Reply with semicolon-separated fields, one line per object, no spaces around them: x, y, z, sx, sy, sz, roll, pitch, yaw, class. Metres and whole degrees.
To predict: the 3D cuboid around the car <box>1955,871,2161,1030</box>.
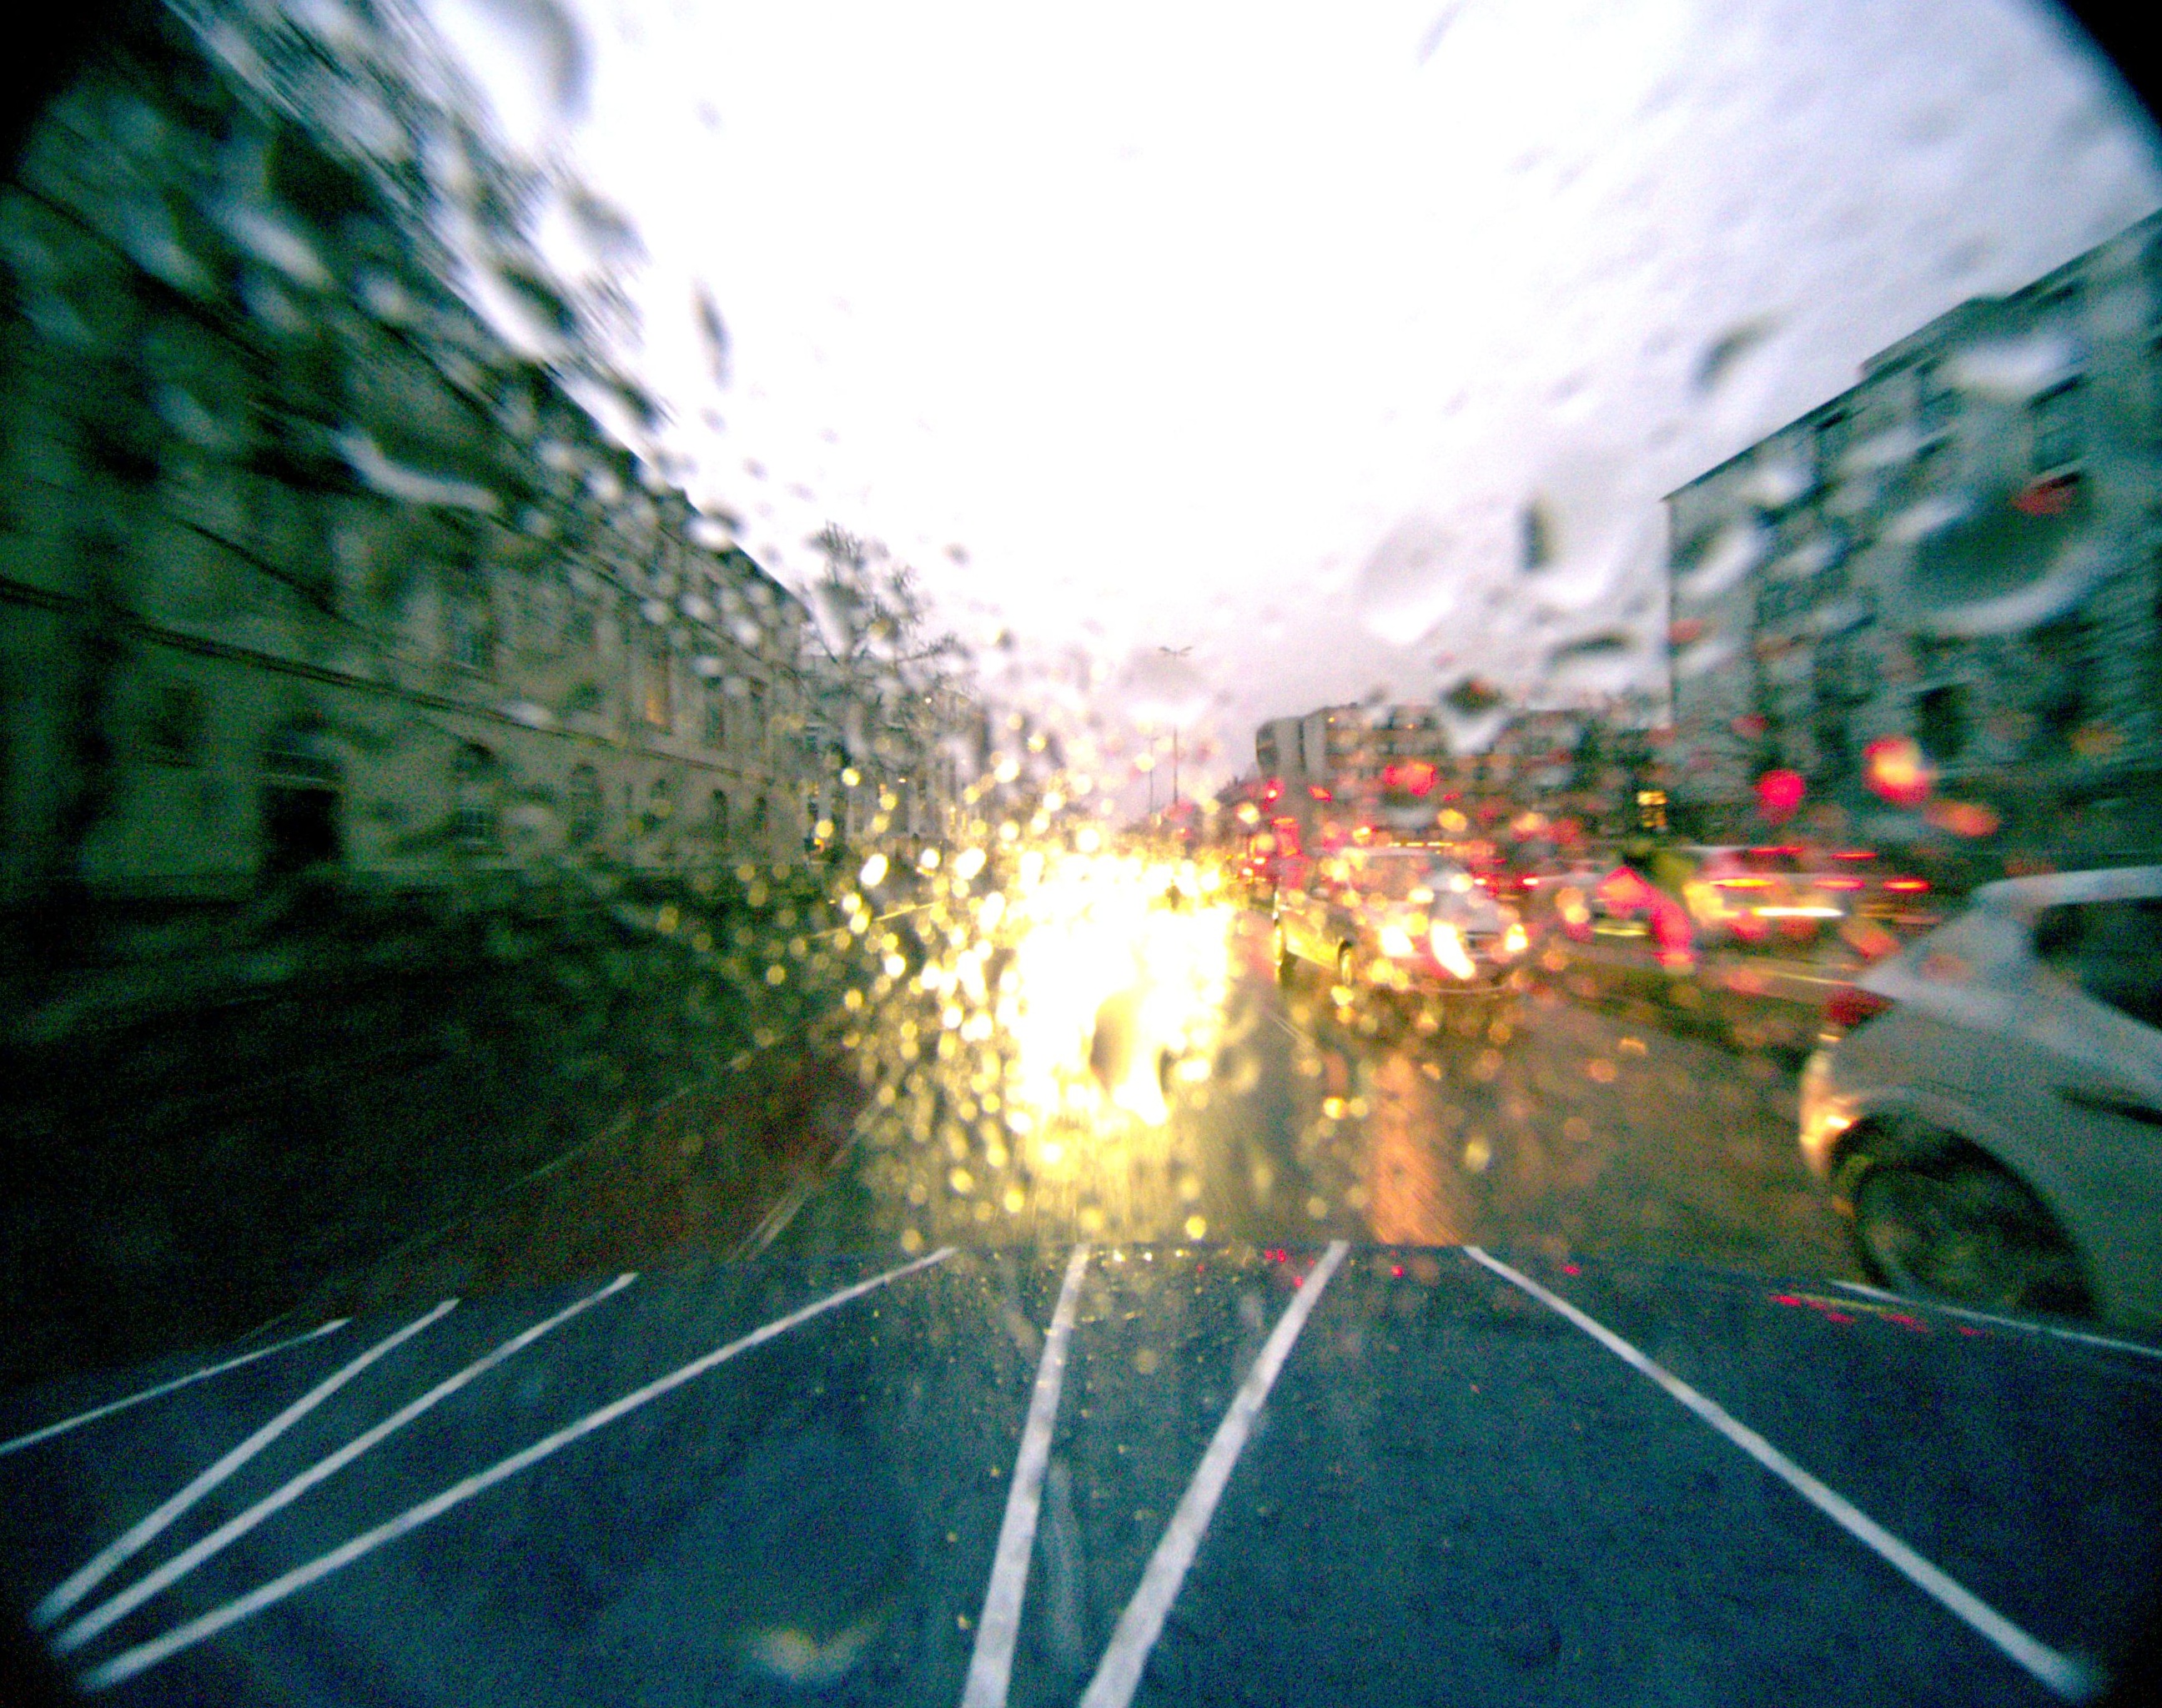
11.007;0.918;6.903;1.649;1.478;4.001;0;0;3;car

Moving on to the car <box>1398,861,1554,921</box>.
10.821;0.943;21.250;1.967;1.505;4.534;0;0;0;car

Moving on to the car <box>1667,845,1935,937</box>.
13.983;0.639;15.117;1.793;1.572;3.803;-1;0;2;car

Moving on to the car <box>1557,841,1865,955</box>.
11.273;0.711;14.148;1.967;1.772;4.534;0;0;0;car

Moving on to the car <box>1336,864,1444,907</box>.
10.797;1.057;26.921;1.967;1.378;4.534;0;0;0;car

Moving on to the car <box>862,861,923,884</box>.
-15.068;1.484;60.999;4.567;1.708;1.725;-1;0;-8;car

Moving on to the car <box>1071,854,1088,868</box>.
-0.184;0.870;95.284;1.998;1.693;4.000;-2;0;0;car

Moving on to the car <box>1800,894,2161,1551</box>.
3.295;0.863;0.649;1.630;1.478;4.001;0;0;1;car

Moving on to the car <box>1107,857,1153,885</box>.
3.298;1.076;50.467;1.816;1.732;4.193;0;0;22;car

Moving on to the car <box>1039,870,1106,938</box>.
-0.265;1.297;21.029;1.650;1.575;3.804;-2;0;-2;car

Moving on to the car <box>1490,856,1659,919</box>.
14.180;0.895;22.198;1.967;1.630;4.534;0;0;0;car

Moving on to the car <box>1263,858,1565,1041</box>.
3.403;0.849;8.693;1.649;1.539;4.109;-1;0;0;car

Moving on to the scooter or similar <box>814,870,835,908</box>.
-8.342;1.124;24.755;0.442;1.196;1.080;-2;0;-8;scooter or similar

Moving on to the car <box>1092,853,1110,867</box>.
2.335;0.721;88.343;1.998;1.525;4.000;-2;0;0;car

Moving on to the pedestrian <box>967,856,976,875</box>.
-8.939;0.947;61.978;0.656;1.579;0.562;-2;0;-8;pedestrian

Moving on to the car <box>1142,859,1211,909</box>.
3.118;0.934;25.568;1.753;1.535;3.999;0;0;-1;car

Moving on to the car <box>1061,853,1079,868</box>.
-1.274;0.739;88.648;1.998;1.685;4.000;-2;0;0;car
